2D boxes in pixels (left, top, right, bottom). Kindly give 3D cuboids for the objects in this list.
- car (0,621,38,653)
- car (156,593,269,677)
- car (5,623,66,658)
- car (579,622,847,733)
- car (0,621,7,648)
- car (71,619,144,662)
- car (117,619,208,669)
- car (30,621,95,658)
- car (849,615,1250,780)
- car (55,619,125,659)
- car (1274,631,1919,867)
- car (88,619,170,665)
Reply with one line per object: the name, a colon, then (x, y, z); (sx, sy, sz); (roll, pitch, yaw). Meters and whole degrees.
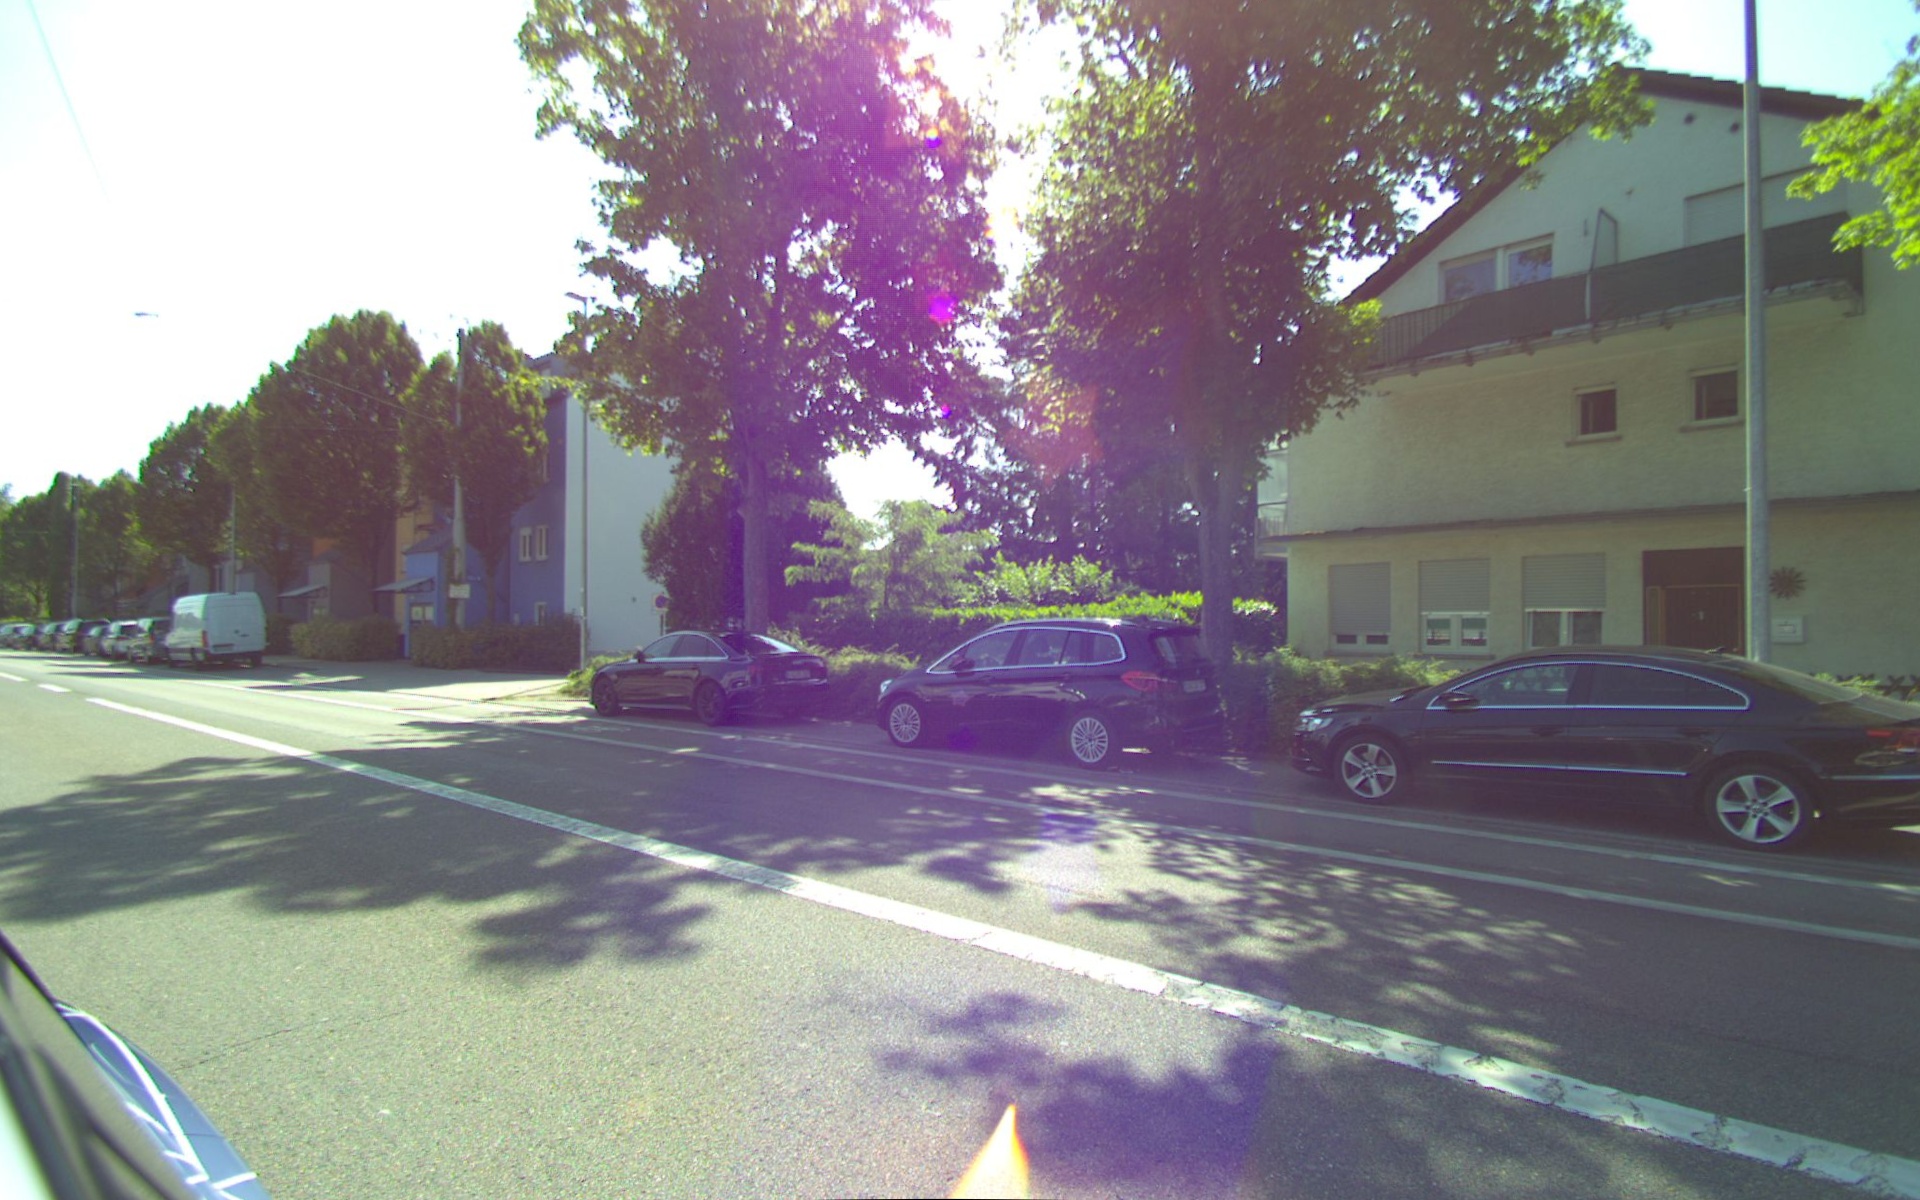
car: (-60.298, 2.360, 64.179); (4.766, 1.818, 1.974); (-2, 4, 41)
car: (-27.370, 1.239, 36.971); (6.213, 2.713, 1.973); (-2, 4, 43)
car: (-54.915, 2.379, 60.105); (4.766, 1.818, 1.974); (-2, 4, 41)
car: (-4.134, 1.156, 16.549); (4.616, 1.583, 1.845); (-1, -2, 39)
car: (-68.738, 2.524, 71.107); (4.766, 1.818, 1.974); (-2, 4, 41)
car: (-42.134, 1.978, 50.000); (4.254, 1.818, 1.974); (-2, 4, 41)
car: (-33.528, 1.812, 42.508); (4.766, 1.818, 1.974); (-2, 4, 41)
car: (-50.262, 2.197, 56.656); (4.766, 1.818, 1.974); (-2, 4, 41)
car: (0.922, 1.017, 12.248); (4.619, 1.583, 1.844); (-1, 0, 41)
car: (-45.742, 2.017, 53.181); (4.766, 1.818, 1.974); (-2, 4, 41)
car: (5.223, 1.010, 8.437); (4.619, 1.426, 1.844); (-1, 0, 41)
car: (-38.065, 1.877, 46.324); (4.766, 1.818, 1.974); (-2, 4, 41)
